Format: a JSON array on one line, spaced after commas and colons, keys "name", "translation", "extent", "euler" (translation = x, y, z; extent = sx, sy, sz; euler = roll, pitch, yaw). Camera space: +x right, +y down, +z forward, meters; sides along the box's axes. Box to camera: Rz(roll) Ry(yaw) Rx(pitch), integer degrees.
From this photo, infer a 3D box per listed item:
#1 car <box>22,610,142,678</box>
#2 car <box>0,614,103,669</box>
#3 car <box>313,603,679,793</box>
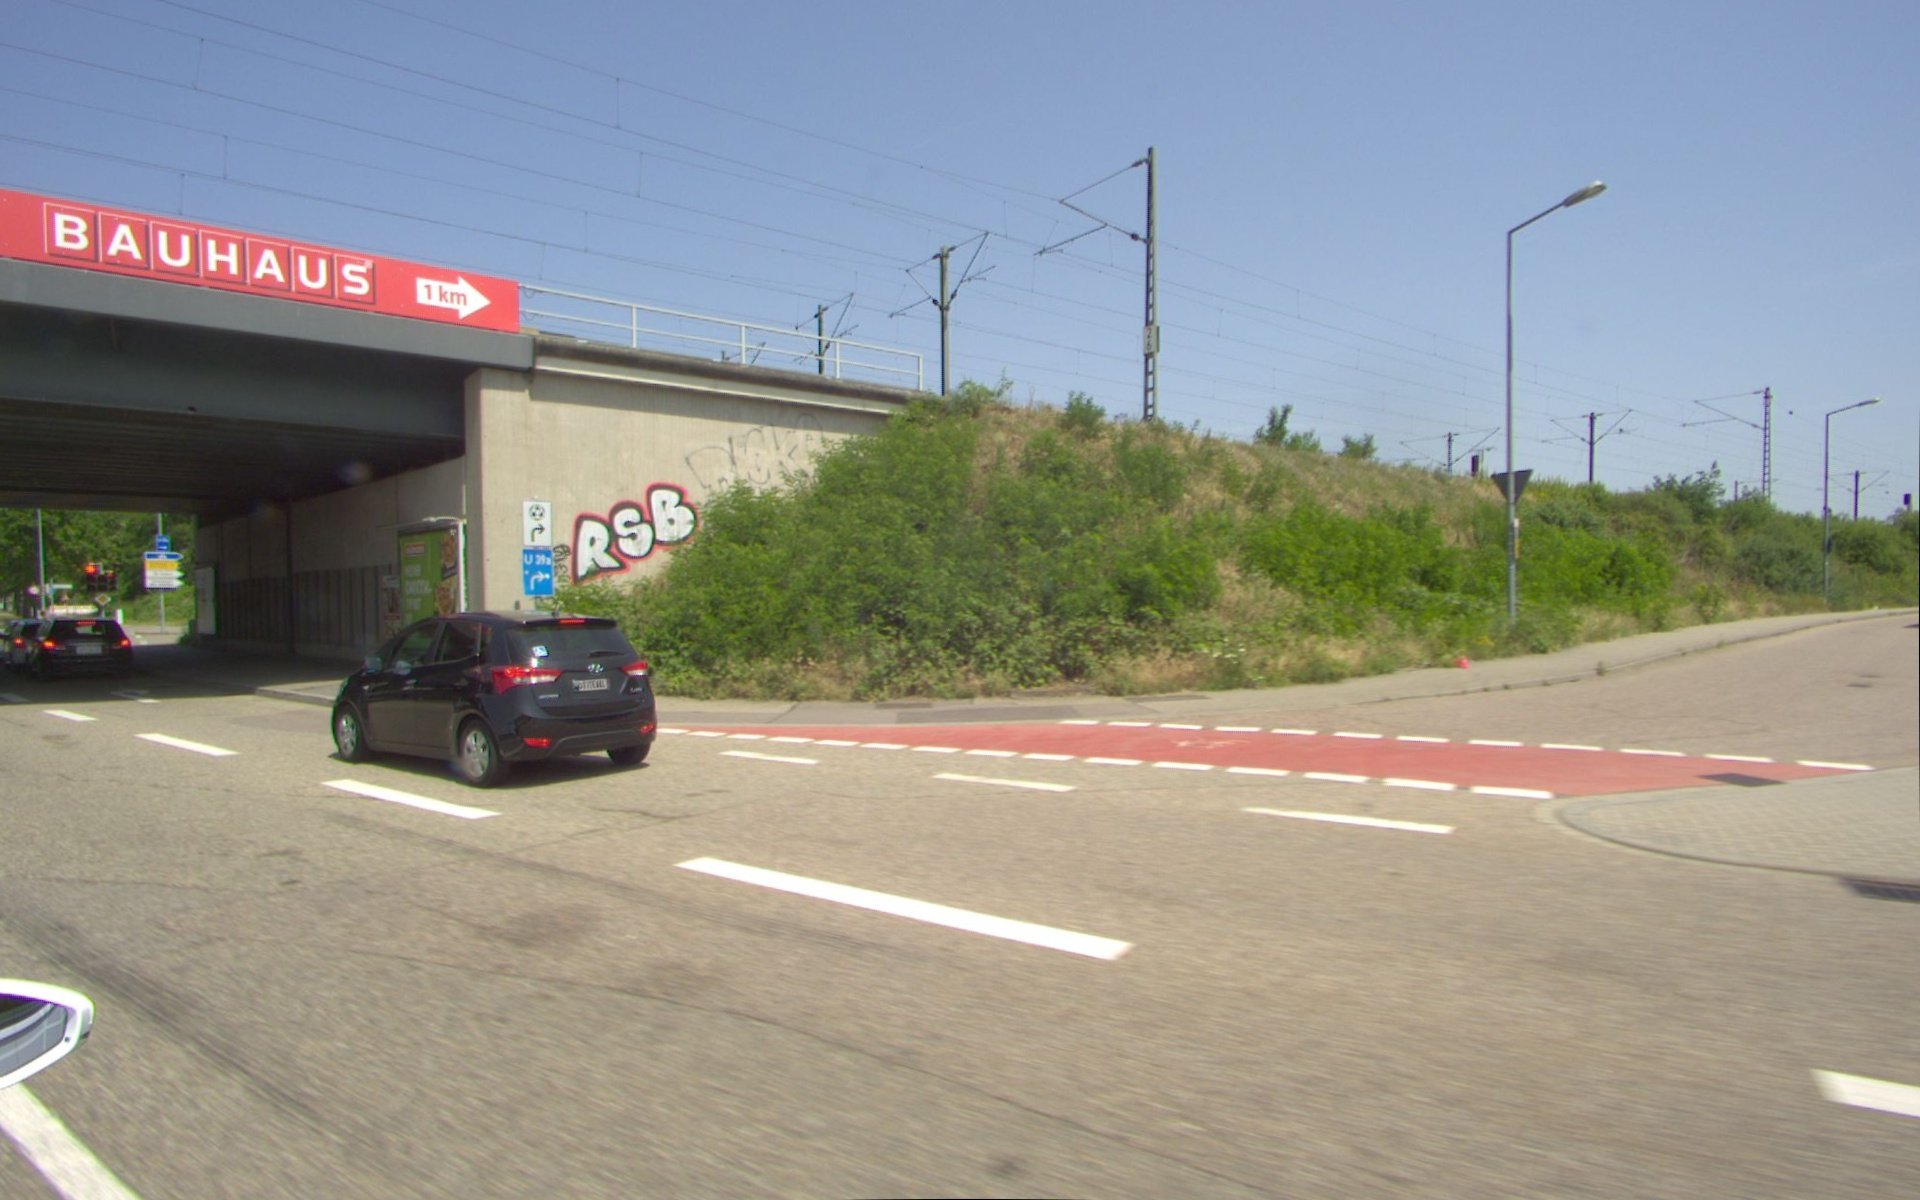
[{"name": "car", "translation": [-22.541, 1.093, 25.663], "extent": [3.955, 1.589, 1.831], "euler": [-1, -1, 42]}, {"name": "car", "translation": [-27.314, 1.204, 30.045], "extent": [3.955, 1.508, 1.895], "euler": [-1, -1, 42]}, {"name": "car", "translation": [-4.926, 0.858, 10.437], "extent": [4.024, 1.620, 1.761], "euler": [-1, 0, 37]}]
